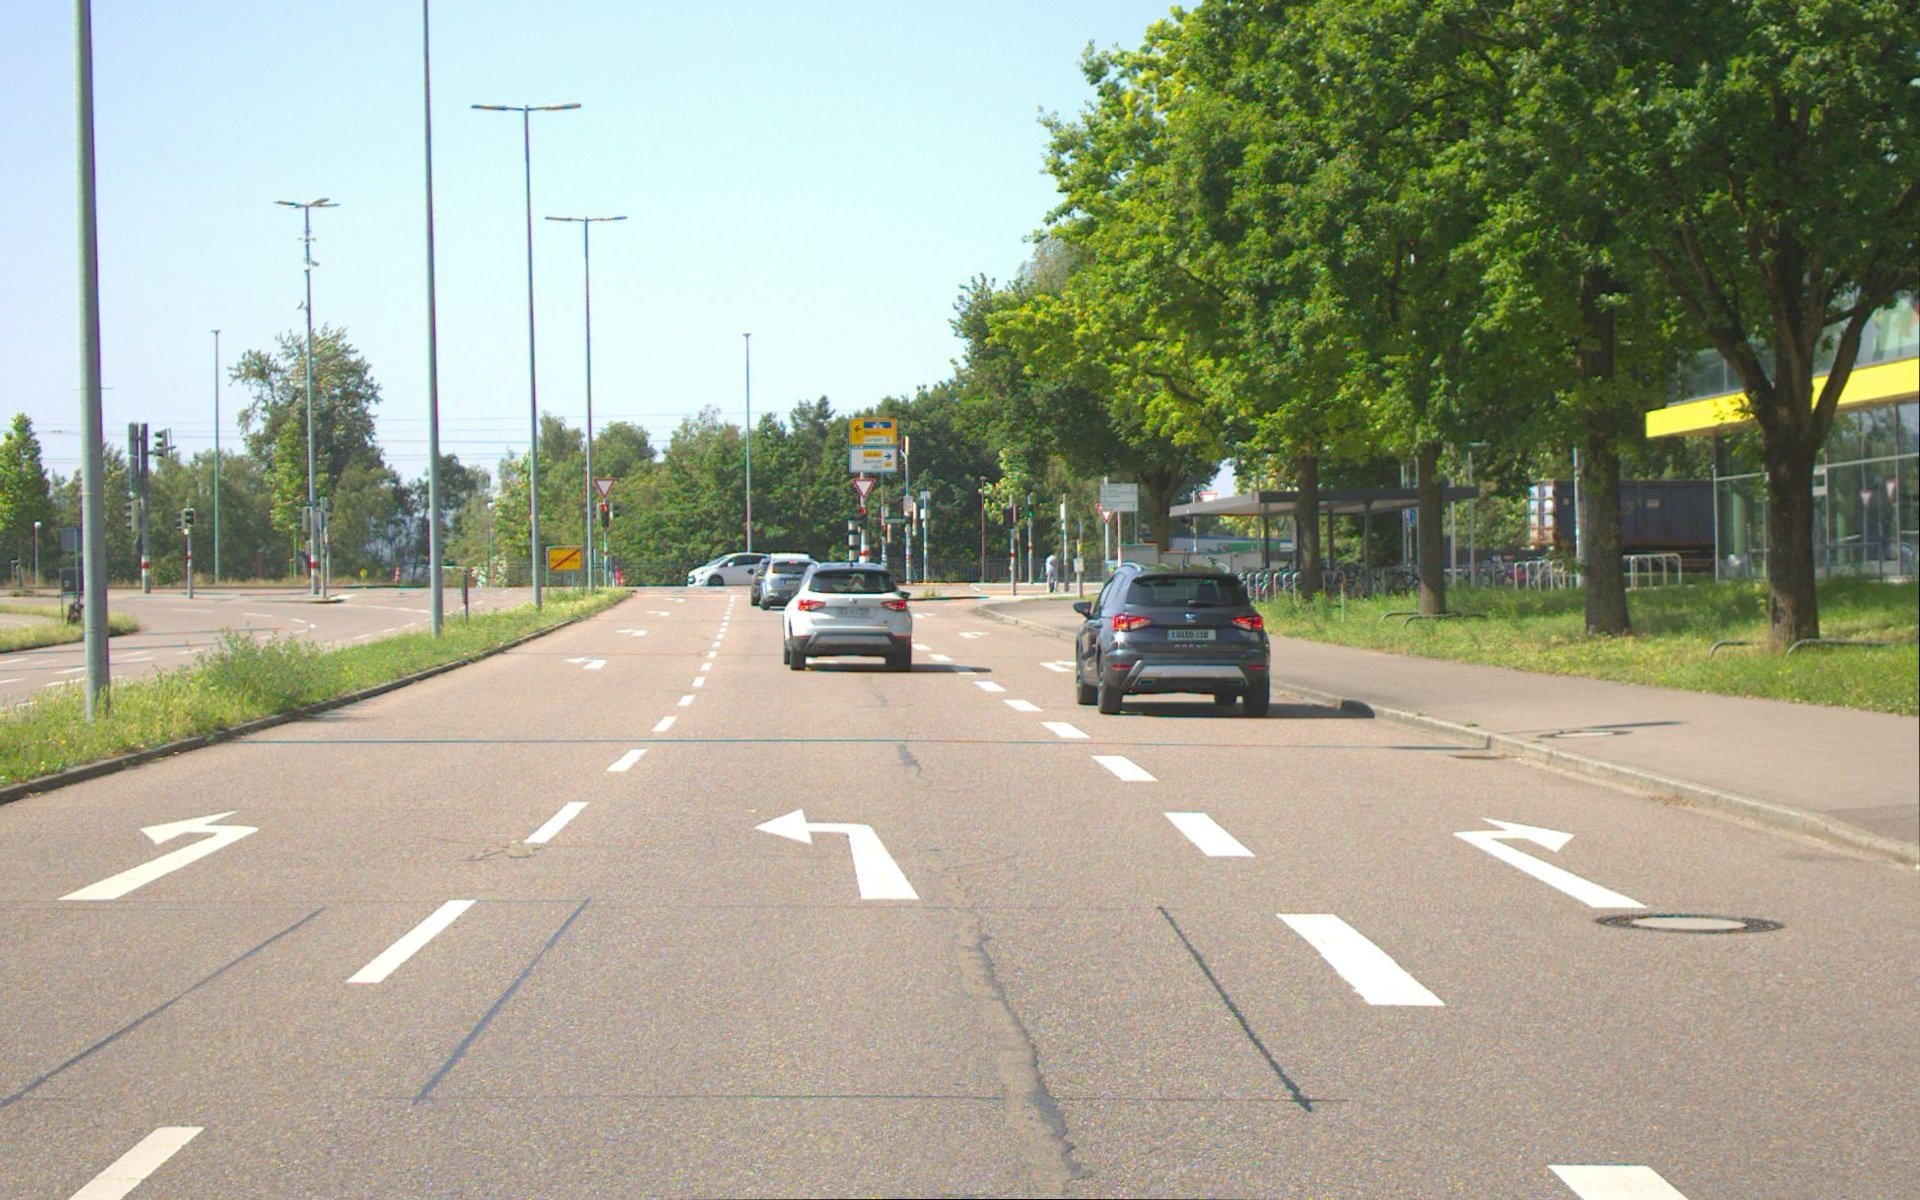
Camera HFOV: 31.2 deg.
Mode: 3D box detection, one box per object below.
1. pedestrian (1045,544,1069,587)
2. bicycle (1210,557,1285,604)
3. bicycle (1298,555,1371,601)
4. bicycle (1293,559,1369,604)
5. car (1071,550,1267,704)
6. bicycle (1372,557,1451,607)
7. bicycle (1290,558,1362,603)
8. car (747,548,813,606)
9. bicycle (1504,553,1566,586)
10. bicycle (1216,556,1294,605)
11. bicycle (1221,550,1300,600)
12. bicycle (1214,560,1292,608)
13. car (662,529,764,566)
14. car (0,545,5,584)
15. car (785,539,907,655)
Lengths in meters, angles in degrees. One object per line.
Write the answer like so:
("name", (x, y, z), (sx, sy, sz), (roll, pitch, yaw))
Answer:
("pedestrian", (3.511, -1.260, 124.415), (0.773, 1.505, 1.007), (-1, 2, 8))
("bicycle", (6.966, -0.467, 83.307), (1.758, 1.092, 0.452), (-1, 1, -3))
("bicycle", (9.362, -0.545, 85.933), (1.758, 1.092, 0.452), (-1, 1, -3))
("bicycle", (9.389, -0.470, 86.999), (1.828, 1.092, 0.452), (-1, 1, -3))
("car", (2.119, 0.244, 35.602), (1.669, 1.518, 3.377), (0, 1, -3))
("bicycle", (10.449, -0.419, 79.584), (1.758, 1.092, 0.452), (-1, 1, -3))
("bicycle", (9.368, -0.498, 88.064), (1.758, 1.092, 0.452), (-1, 1, -3))
("car", (-5.165, -0.668, 98.070), (1.706, 1.568, 4.175), (-2, 1, -5))
("bicycle", (15.293, -0.817, 91.415), (1.561, 0.840, 0.434), (-1, 1, -1))
("bicycle", (6.917, -0.461, 80.597), (1.758, 1.092, 0.452), (-1, 1, -3))
("bicycle", (6.970, -0.579, 79.674), (1.758, 1.092, 0.452), (-2, 1, -3))
("bicycle", (6.922, -0.381, 81.146), (1.758, 1.092, 0.452), (-1, 1, -3))
("car", (-10.710, -2.282, 149.099), (4.072, 1.541, 1.800), (-1, 0, -24))
("car", (-38.278, -1.343, 131.150), (3.342, 1.495, 1.410), (-1, -1, -7))
("car", (-1.677, -0.076, 49.547), (1.630, 1.493, 3.871), (0, 3, -4))
